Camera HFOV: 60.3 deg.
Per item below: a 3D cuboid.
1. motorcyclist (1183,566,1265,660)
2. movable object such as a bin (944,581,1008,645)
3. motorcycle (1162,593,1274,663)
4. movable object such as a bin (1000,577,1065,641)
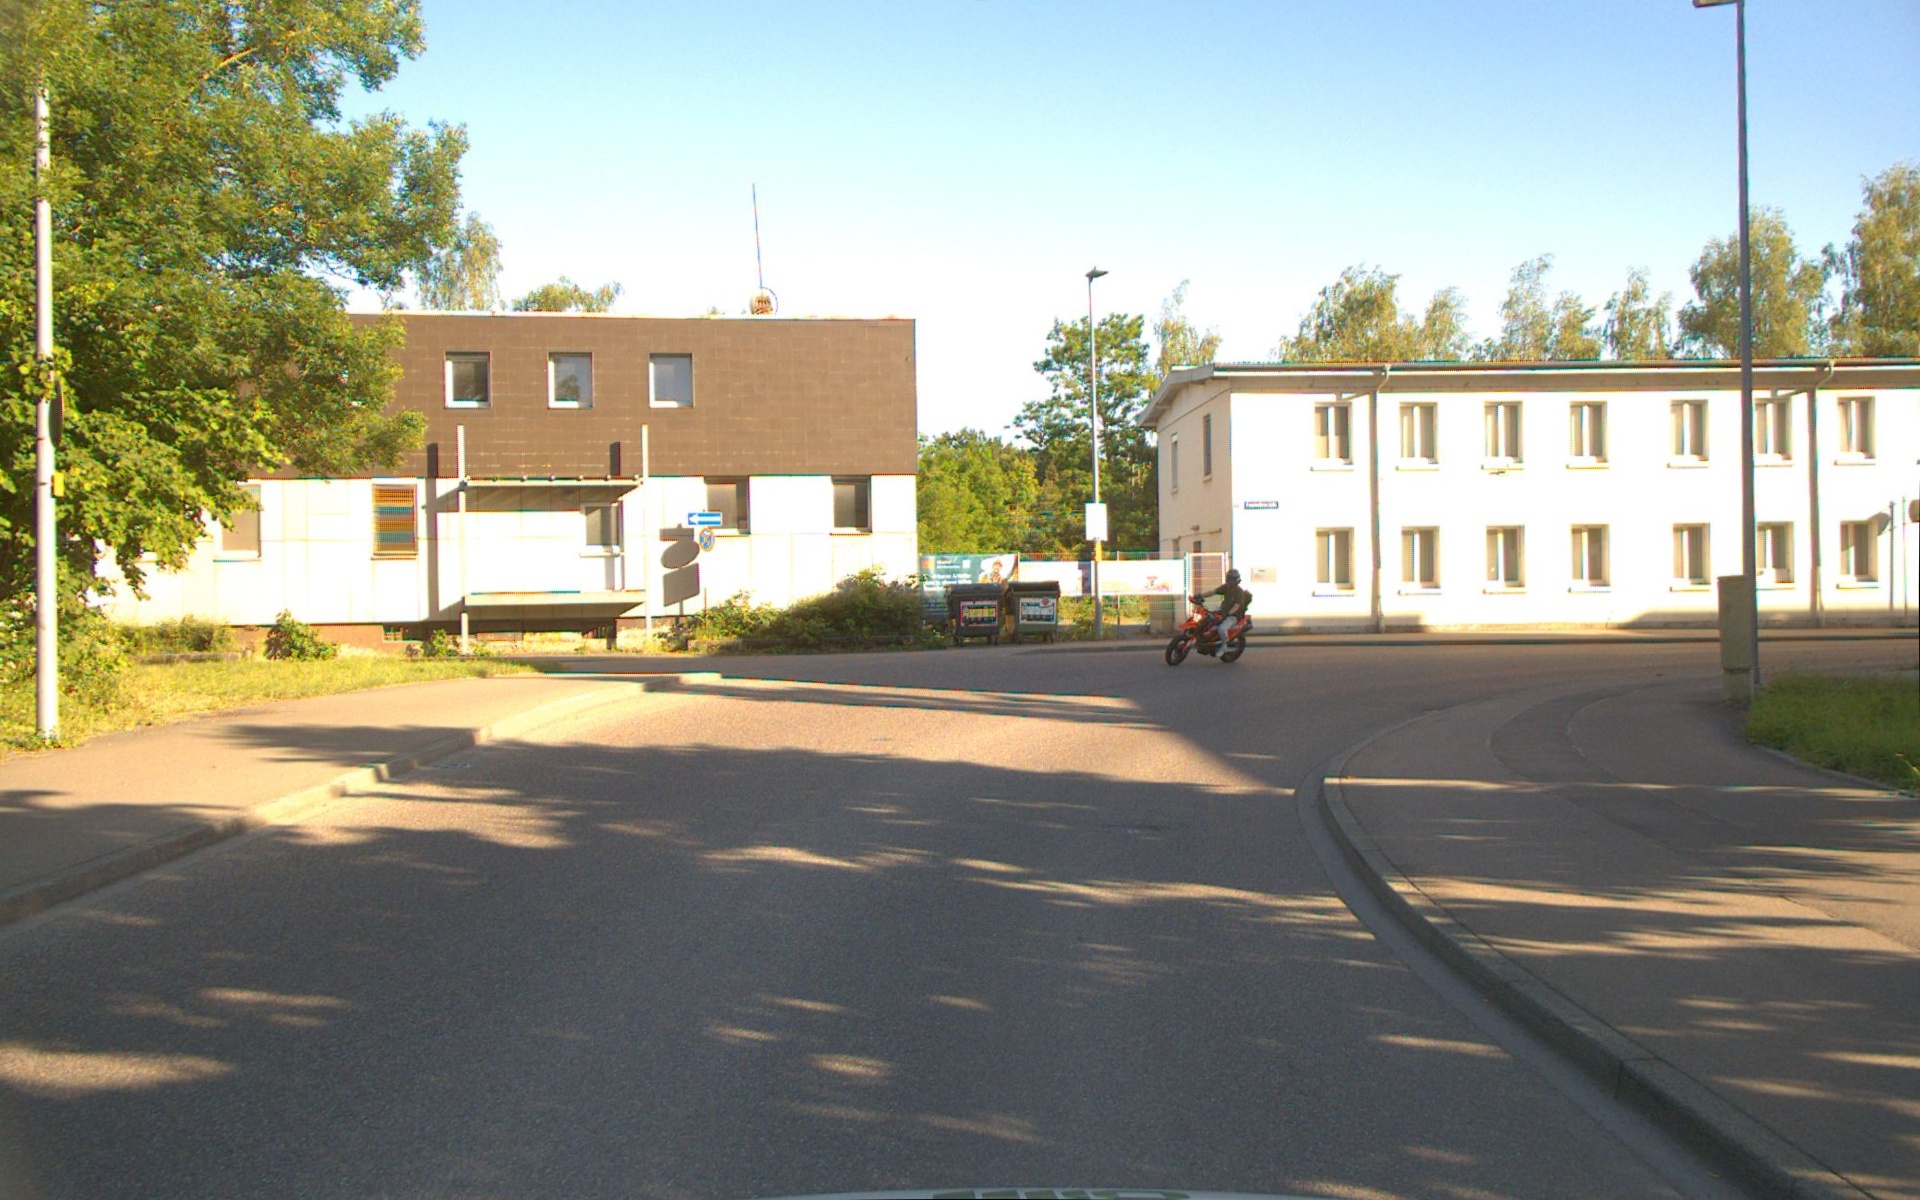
[{"bbox_3d":[4.737,0.229,29.694,0.891,1.580,1.015,3,2,-44],"label":"motorcyclist"},{"bbox_3d":[0.370,0.310,38.805,1.339,1.443,1.063,2,-1,-8],"label":"movable object such as a bin"},{"bbox_3d":[4.636,0.482,29.625,2.020,1.206,0.947,0,0,-44],"label":"motorcycle"},{"bbox_3d":[1.704,0.224,39.191,1.339,1.443,1.063,2,-1,-8],"label":"movable object such as a bin"}]
